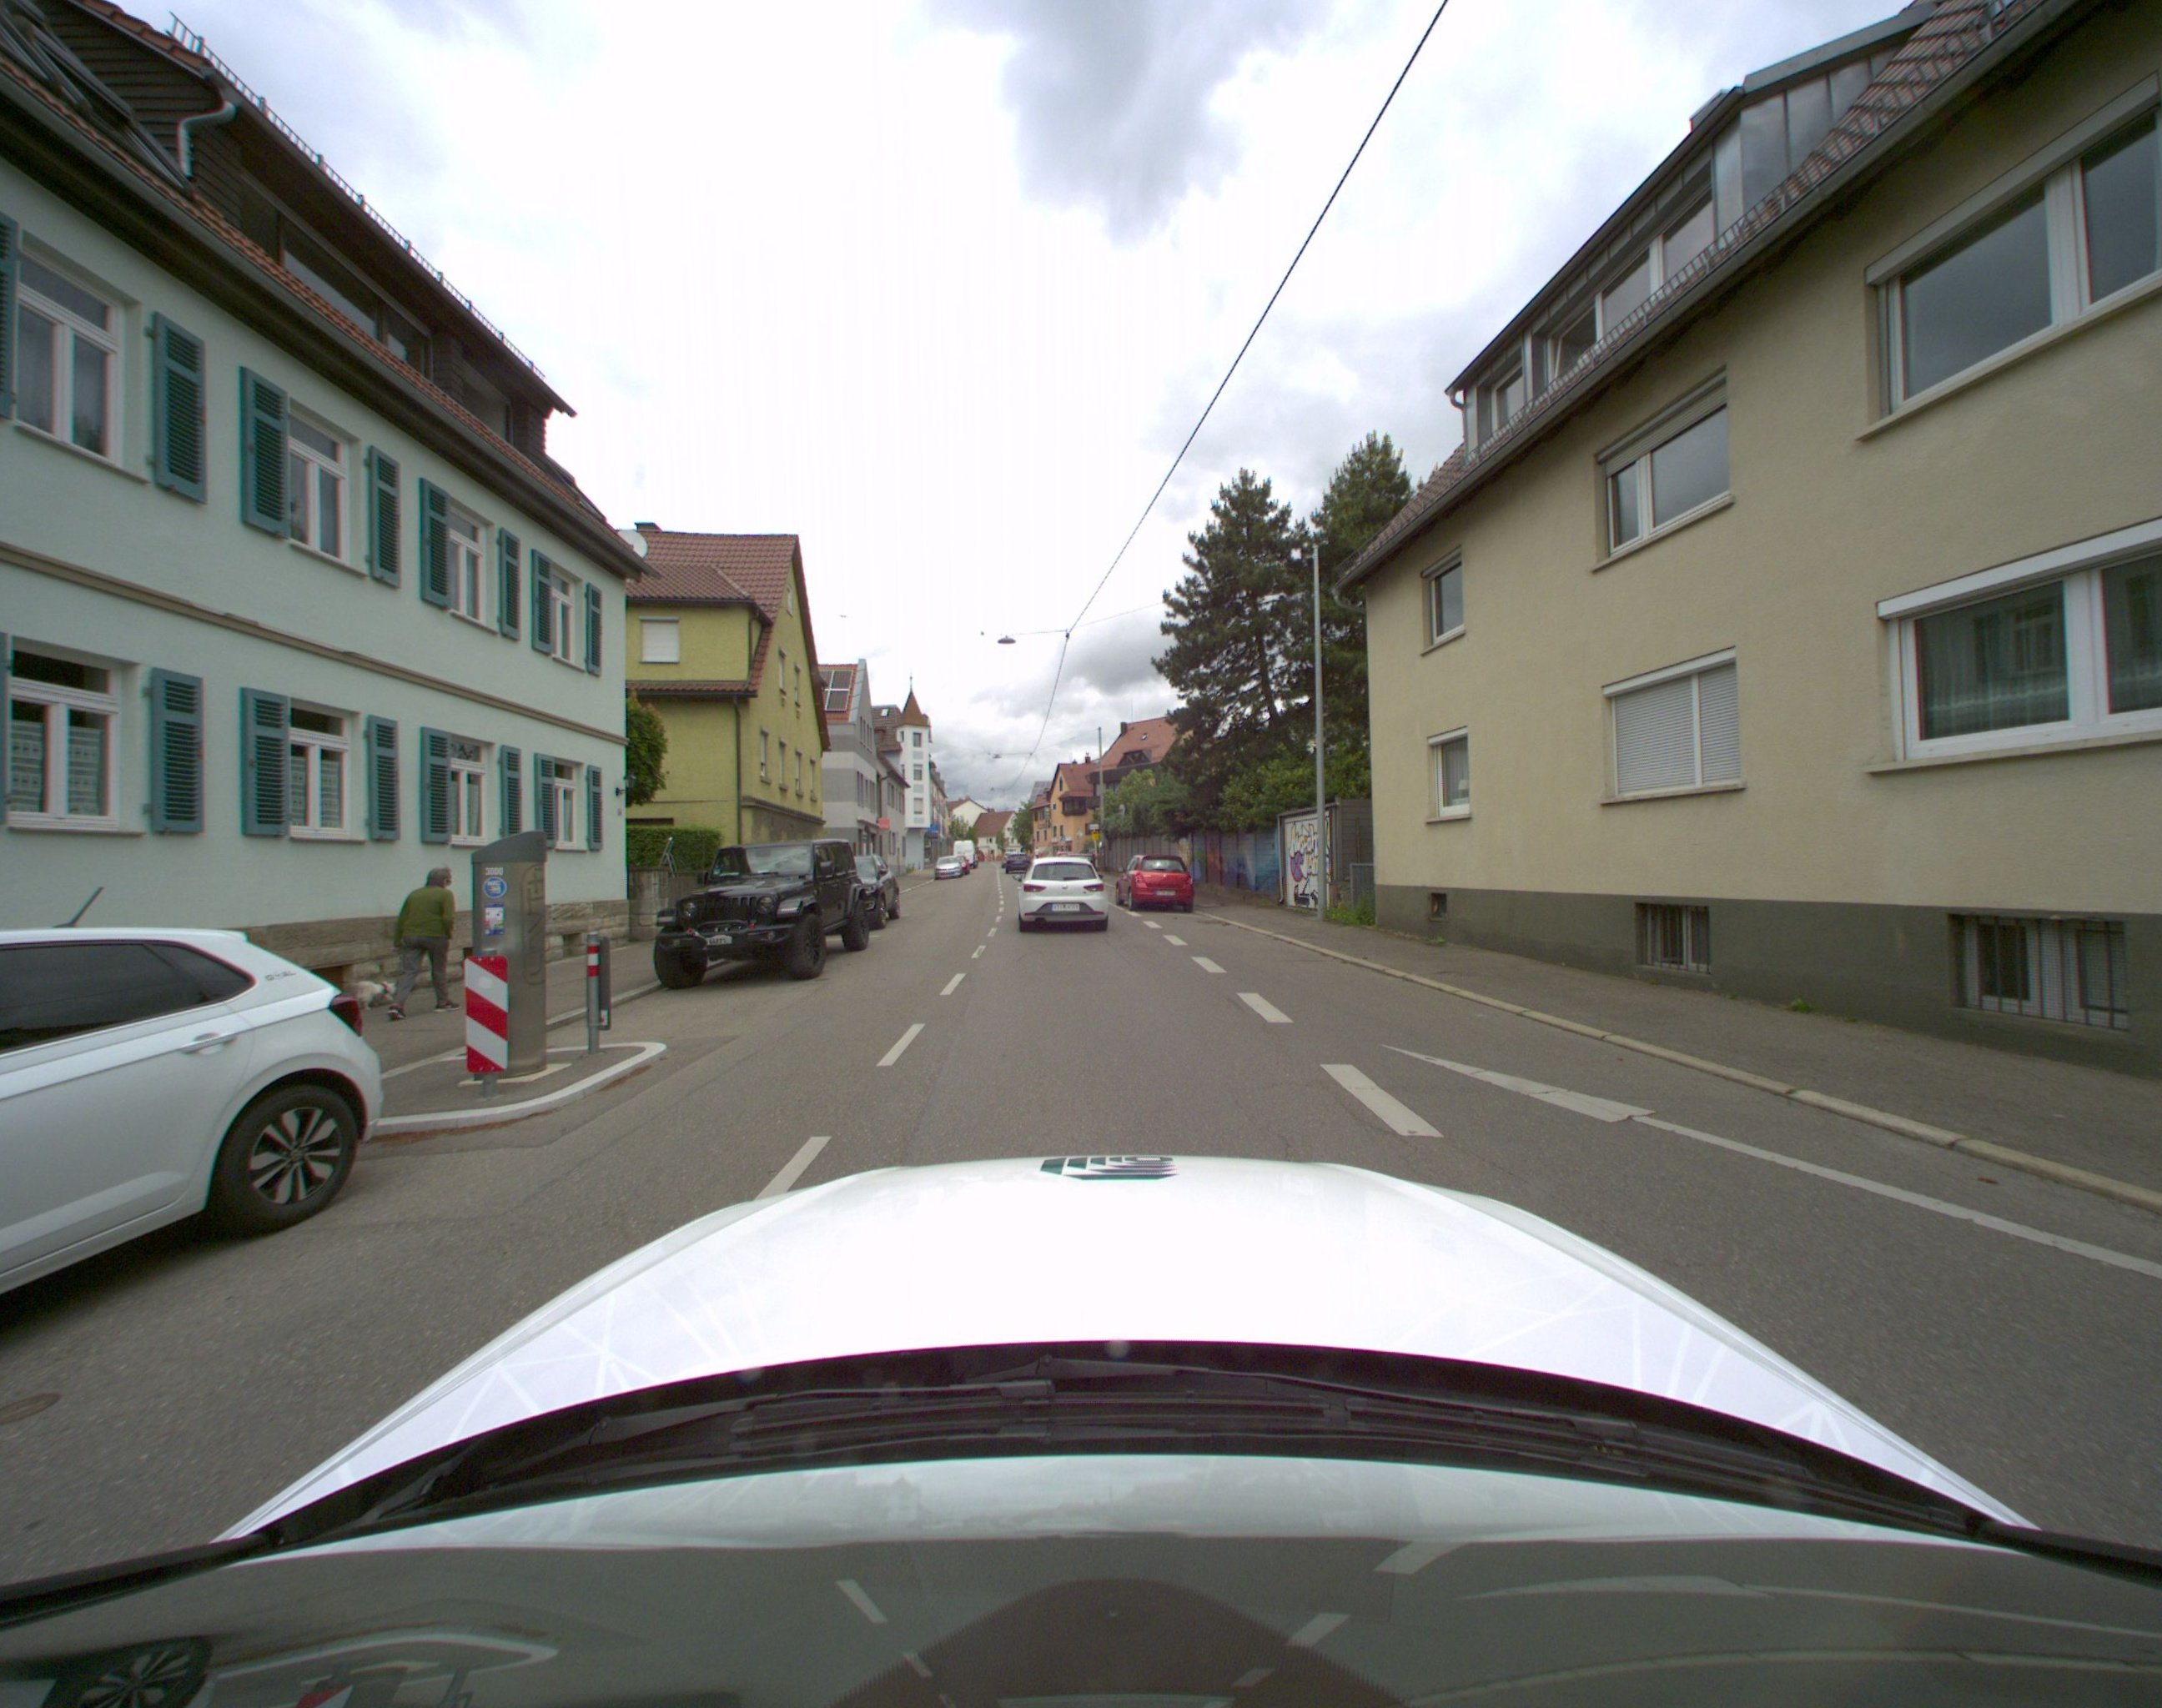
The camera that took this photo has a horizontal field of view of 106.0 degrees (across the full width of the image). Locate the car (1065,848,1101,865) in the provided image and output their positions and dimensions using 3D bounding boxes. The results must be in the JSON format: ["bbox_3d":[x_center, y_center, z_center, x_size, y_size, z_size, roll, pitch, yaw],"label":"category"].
[{"bbox_3d":[0.181,0.197,72.995,2.815,1.512,1.699,0,1,-17],"label":"car"}]

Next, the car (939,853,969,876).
[{"bbox_3d":[-9.231,0.734,59.429,1.797,1.479,4.042,-4,0,-6],"label":"car"}]

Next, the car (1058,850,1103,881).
[{"bbox_3d":[-0.071,0.567,42.175,1.758,1.452,3.988,-1,0,-9],"label":"car"}]

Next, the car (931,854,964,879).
[{"bbox_3d":[-8.800,0.801,53.830,1.797,1.479,4.042,-4,0,-6],"label":"car"}]

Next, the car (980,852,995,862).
[{"bbox_3d":[-16.204,0.568,141.025,1.786,1.701,4.005,-1,0,5],"label":"car"}]

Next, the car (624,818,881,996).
[{"bbox_3d":[-4.546,0.620,12.200,1.989,2.013,4.666,-4,0,-3],"label":"car"}]

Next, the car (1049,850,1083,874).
[{"bbox_3d":[-1.027,0.499,53.743,1.758,1.452,3.988,-1,0,-9],"label":"car"}]

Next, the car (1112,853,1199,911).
[{"bbox_3d":[1.991,0.720,22.780,1.755,1.452,3.993,1,0,-5],"label":"car"}]

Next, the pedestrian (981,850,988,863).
[{"bbox_3d":[-15.995,0.408,134.953,1.226,2.013,1.173,-1,0,-6],"label":"pedestrian"}]

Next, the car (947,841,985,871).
[{"bbox_3d":[-10.677,0.171,75.812,2.141,2.687,5.555,0,0,7],"label":"car"}]

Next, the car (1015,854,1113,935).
[{"bbox_3d":[-0.475,0.748,17.113,1.756,1.452,3.992,-1,0,-6],"label":"car"}]

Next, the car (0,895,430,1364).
[{"bbox_3d":[-4.541,0.964,2.436,1.991,1.436,3.918,-1,0,0],"label":"car"}]

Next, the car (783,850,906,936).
[{"bbox_3d":[-5.381,0.797,19.165,1.894,1.619,4.516,-3,2,-6],"label":"car"}]

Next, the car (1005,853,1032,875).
[{"bbox_3d":[-4.393,0.669,56.749,1.756,1.452,3.992,-1,0,-5],"label":"car"}]

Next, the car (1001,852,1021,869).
[{"bbox_3d":[-6.336,0.583,73.508,1.756,1.452,3.992,-1,0,-6],"label":"car"}]

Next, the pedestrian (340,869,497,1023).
[{"bbox_3d":[-6.845,0.908,8.476,0.803,1.500,0.975,0,-1,0],"label":"pedestrian"}]
